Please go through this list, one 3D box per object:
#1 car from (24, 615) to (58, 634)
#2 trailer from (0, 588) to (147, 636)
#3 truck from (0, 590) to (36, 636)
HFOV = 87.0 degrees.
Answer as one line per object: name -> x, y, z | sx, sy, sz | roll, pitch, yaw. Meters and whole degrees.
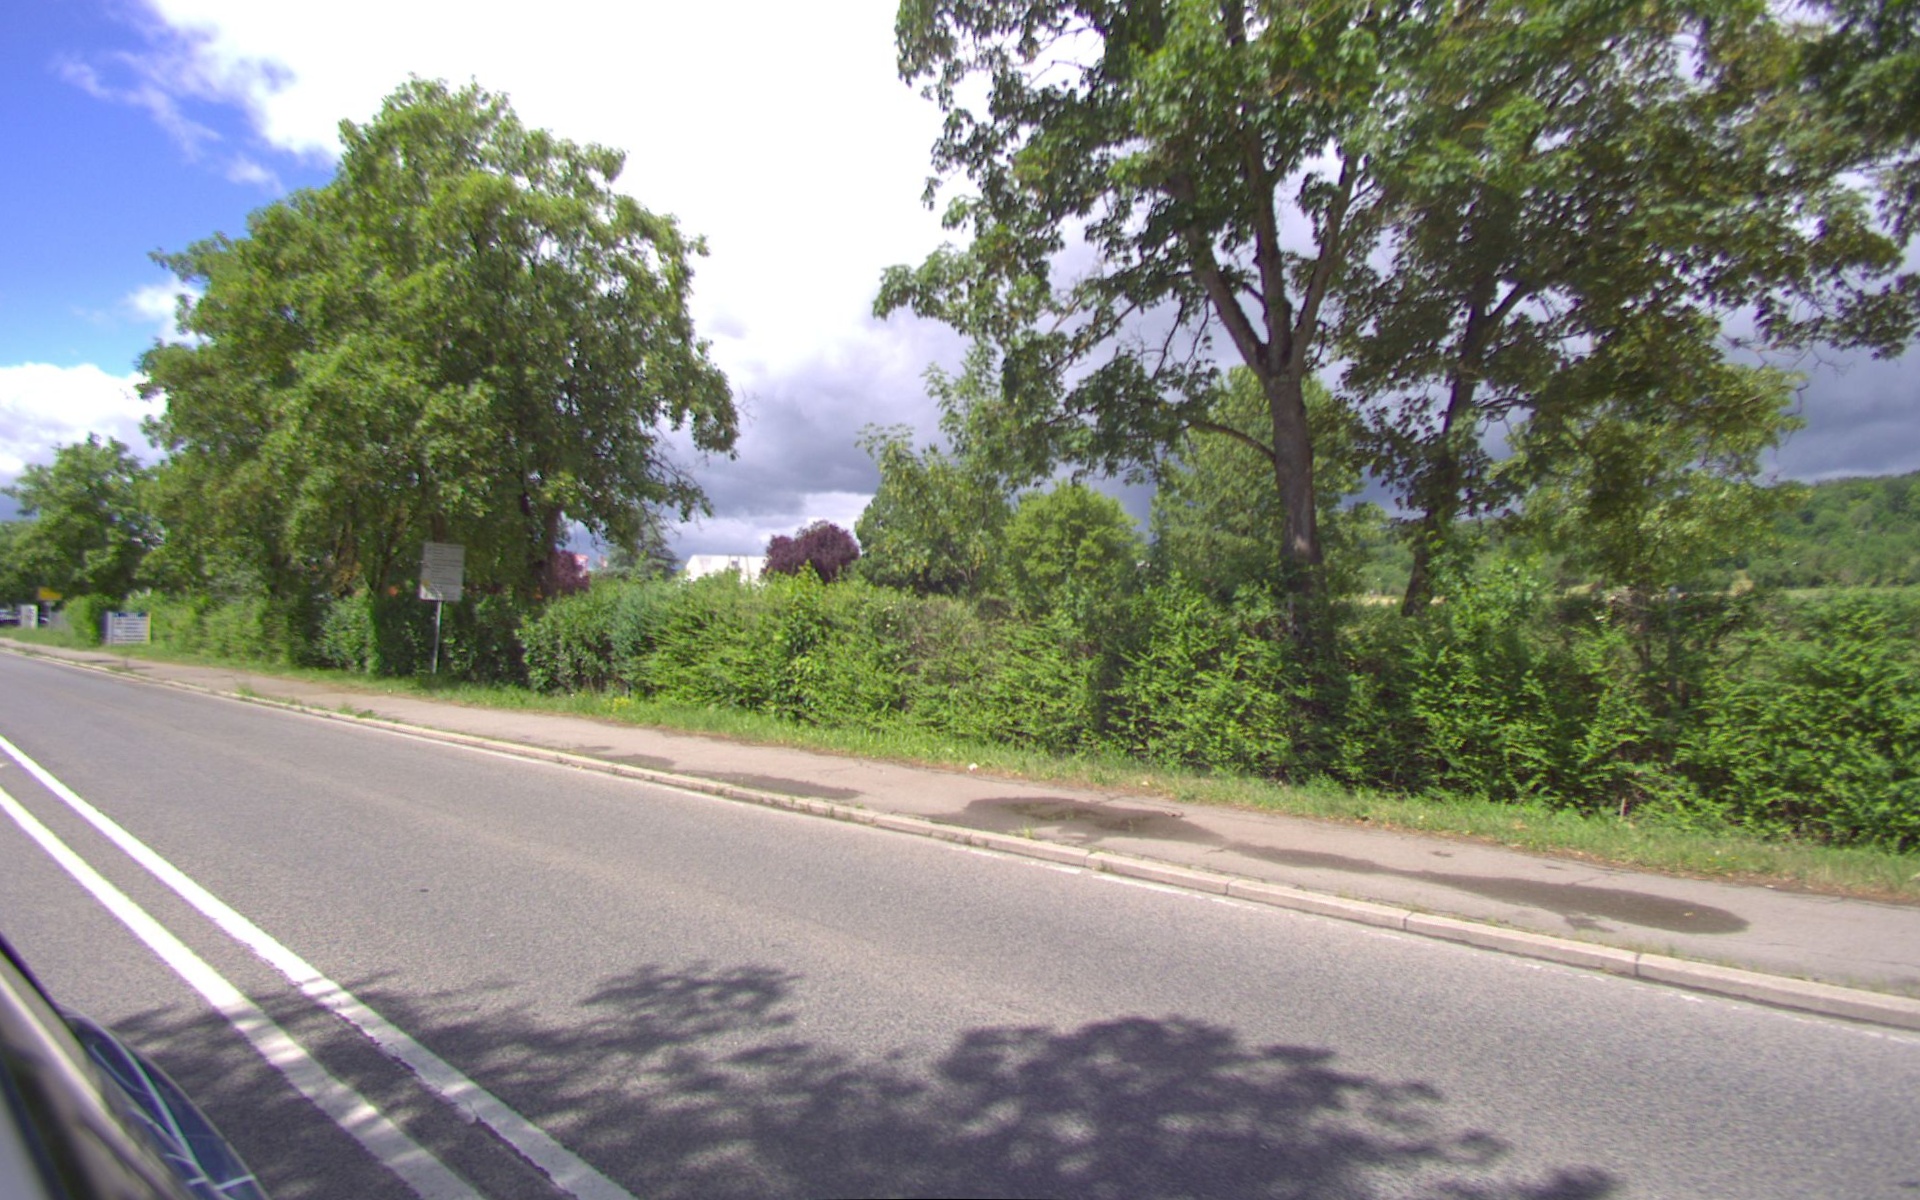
car -> -85.253, 2.239, 93.837 | 4.600, 1.734, 1.909 | -1, -2, 43
trailer -> -79.134, 1.147, 90.523 | 3.301, 4.114, 9.384 | 0, -2, 25
truck -> -82.029, 1.044, 85.355 | 2.979, 3.853, 5.503 | 0, -2, 37
